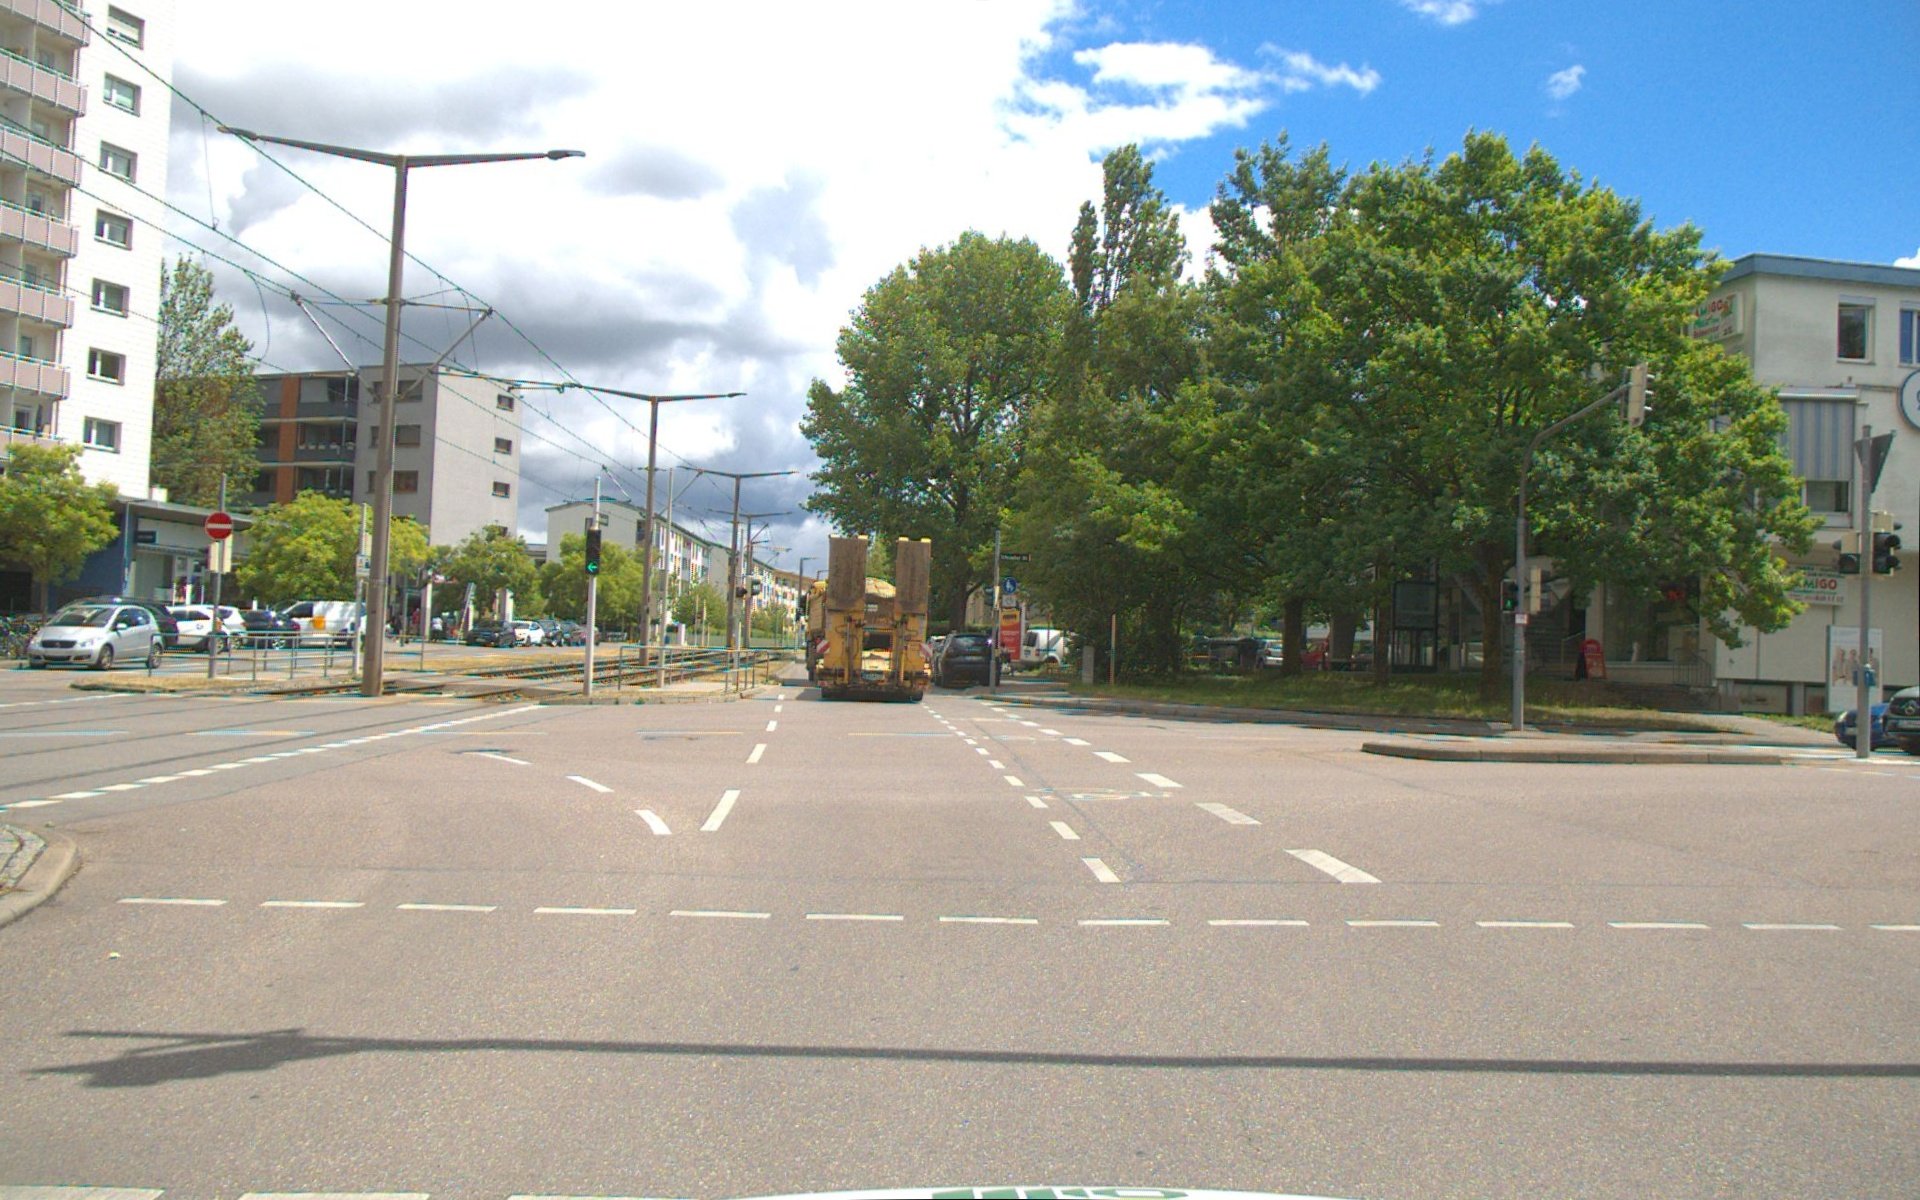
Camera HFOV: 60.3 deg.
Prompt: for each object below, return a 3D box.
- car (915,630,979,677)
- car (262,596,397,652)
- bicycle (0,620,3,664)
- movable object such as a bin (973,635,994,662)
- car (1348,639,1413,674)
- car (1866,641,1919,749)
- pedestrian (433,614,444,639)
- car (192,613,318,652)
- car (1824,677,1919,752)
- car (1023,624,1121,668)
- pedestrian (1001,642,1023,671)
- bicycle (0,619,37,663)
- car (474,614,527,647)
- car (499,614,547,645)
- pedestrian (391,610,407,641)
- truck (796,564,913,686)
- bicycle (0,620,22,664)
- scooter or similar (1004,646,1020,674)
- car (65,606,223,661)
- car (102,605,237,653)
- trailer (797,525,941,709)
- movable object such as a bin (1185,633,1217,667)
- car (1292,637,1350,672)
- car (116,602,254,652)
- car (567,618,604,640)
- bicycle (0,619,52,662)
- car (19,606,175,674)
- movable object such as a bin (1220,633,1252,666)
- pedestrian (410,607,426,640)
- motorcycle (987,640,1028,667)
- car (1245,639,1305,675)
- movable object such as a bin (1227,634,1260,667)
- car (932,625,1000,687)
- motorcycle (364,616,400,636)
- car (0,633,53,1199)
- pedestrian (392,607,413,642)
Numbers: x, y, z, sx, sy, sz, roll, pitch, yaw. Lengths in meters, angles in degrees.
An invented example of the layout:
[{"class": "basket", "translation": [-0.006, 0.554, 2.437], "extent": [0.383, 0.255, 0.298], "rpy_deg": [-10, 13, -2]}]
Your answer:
[{"class": "car", "translation": [-0.511, 1.943, 60.524], "extent": [1.750, 1.592, 4.561], "rpy_deg": [1, -1, -8]}, {"class": "car", "translation": [-25.405, 0.984, 66.790], "extent": [1.875, 2.194, 4.727], "rpy_deg": [0, -1, 45]}, {"class": "bicycle", "translation": [-24.829, 1.010, 40.446], "extent": [2.378, 1.085, 0.704], "rpy_deg": [1, -1, -2]}, {"class": "movable object such as a bin", "translation": [1.265, 2.627, 89.999], "extent": [1.077, 1.464, 0.760], "rpy_deg": [1, -1, -6]}, {"class": "car", "translation": [19.243, 2.565, 75.866], "extent": [1.709, 1.496, 3.996], "rpy_deg": [1, -1, -4]}, {"class": "car", "translation": [16.680, 1.490, 25.471], "extent": [4.555, 1.620, 1.919], "rpy_deg": [1, -3, -9]}, {"class": "pedestrian", "translation": [-30.646, 1.563, 97.191], "extent": [0.492, 1.486, 0.555], "rpy_deg": [2, -1, -31]}, {"class": "car", "translation": [-26.490, 1.233, 62.205], "extent": [3.970, 1.408, 1.875], "rpy_deg": [2, -1, -45]}, {"class": "car", "translation": [17.326, 1.984, 28.592], "extent": [3.886, 1.247, 1.909], "rpy_deg": [1, -3, -9]}, {"class": "car", "translation": [4.878, 1.999, 72.098], "extent": [3.939, 1.855, 1.795], "rpy_deg": [1, -1, -27]}, {"class": "pedestrian", "translation": [2.000, 2.171, 63.777], "extent": [0.761, 1.073, 0.546], "rpy_deg": [1, -1, -10]}, {"class": "bicycle", "translation": [-24.889, 1.029, 42.082], "extent": [2.378, 1.085, 0.704], "rpy_deg": [1, -1, -2]}, {"class": "car", "translation": [-24.970, 1.638, 90.007], "extent": [1.955, 1.692, 4.095], "rpy_deg": [3, -1, -5]}, {"class": "car", "translation": [-25.466, 1.699, 96.415], "extent": [1.955, 1.692, 4.095], "rpy_deg": [3, -1, -5]}, {"class": "pedestrian", "translation": [-29.626, 1.335, 87.324], "extent": [0.656, 1.601, 0.681], "rpy_deg": [2, -1, -31]}, {"class": "truck", "translation": [-3.335, 0.747, 50.373], "extent": [2.781, 3.389, 7.967], "rpy_deg": [1, -1, -9]}, {"class": "bicycle", "translation": [-24.865, 1.020, 41.335], "extent": [2.378, 1.085, 0.704], "rpy_deg": [1, -1, -2]}, {"class": "scooter or similar", "translation": [2.006, 2.303, 63.786], "extent": [0.468, 1.073, 0.895], "rpy_deg": [1, -1, -9]}, {"class": "car", "translation": [-25.261, 1.039, 51.285], "extent": [1.897, 1.619, 3.979], "rpy_deg": [0, -1, 40]}, {"class": "car", "translation": [-26.464, 0.982, 55.435], "extent": [3.736, 1.523, 1.720], "rpy_deg": [2, -1, -43]}, {"class": "trailer", "translation": [-2.294, 0.428, 40.928], "extent": [2.990, 3.839, 11.602], "rpy_deg": [1, -1, -4]}, {"class": "movable object such as a bin", "translation": [10.530, 2.173, 72.426], "extent": [1.093, 1.455, 1.284], "rpy_deg": [1, -1, -6]}, {"class": "car", "translation": [16.662, 2.495, 76.436], "extent": [1.708, 1.468, 3.999], "rpy_deg": [1, -1, -1]}, {"class": "car", "translation": [-27.139, 0.959, 57.995], "extent": [1.872, 1.660, 3.977], "rpy_deg": [0, -1, 41]}, {"class": "car", "translation": [-26.172, 2.028, 115.750], "extent": [1.579, 1.451, 3.424], "rpy_deg": [1, -1, 3]}, {"class": "bicycle", "translation": [-24.944, 1.038, 42.845], "extent": [2.378, 1.085, 0.704], "rpy_deg": [1, -1, -2]}, {"class": "car", "translation": [-21.186, 0.961, 40.761], "extent": [1.781, 1.559, 3.754], "rpy_deg": [1, -1, 1]}, {"class": "movable object such as a bin", "translation": [12.452, 2.236, 74.713], "extent": [1.093, 1.455, 1.284], "rpy_deg": [1, -1, -6]}, {"class": "pedestrian", "translation": [-29.765, 1.296, 90.872], "extent": [0.599, 1.824, 0.843], "rpy_deg": [1, -1, -4]}, {"class": "motorcycle", "translation": [2.172, 2.452, 75.886], "extent": [1.773, 1.232, 0.706], "rpy_deg": [1, -1, -26]}, {"class": "car", "translation": [14.439, 2.588, 76.009], "extent": [1.901, 1.517, 3.999], "rpy_deg": [1, -1, -1]}, {"class": "movable object such as a bin", "translation": [12.577, 2.232, 73.387], "extent": [1.093, 1.455, 1.284], "rpy_deg": [1, -1, -6]}, {"class": "car", "translation": [0.142, 1.698, 51.310], "extent": [1.612, 1.793, 4.563], "rpy_deg": [1, -1, -6]}, {"class": "motorcycle", "translation": [-34.971, 1.562, 100.091], "extent": [1.855, 1.199, 0.740], "rpy_deg": [1, -1, -6]}, {"class": "car", "translation": [-2.607, 0.724, 0.607], "extent": [1.931, 1.423, 4.674], "rpy_deg": [1, -1, 0]}, {"class": "pedestrian", "translation": [-28.133, 1.236, 83.495], "extent": [0.824, 1.678, 0.612], "rpy_deg": [2, -1, -7]}]
